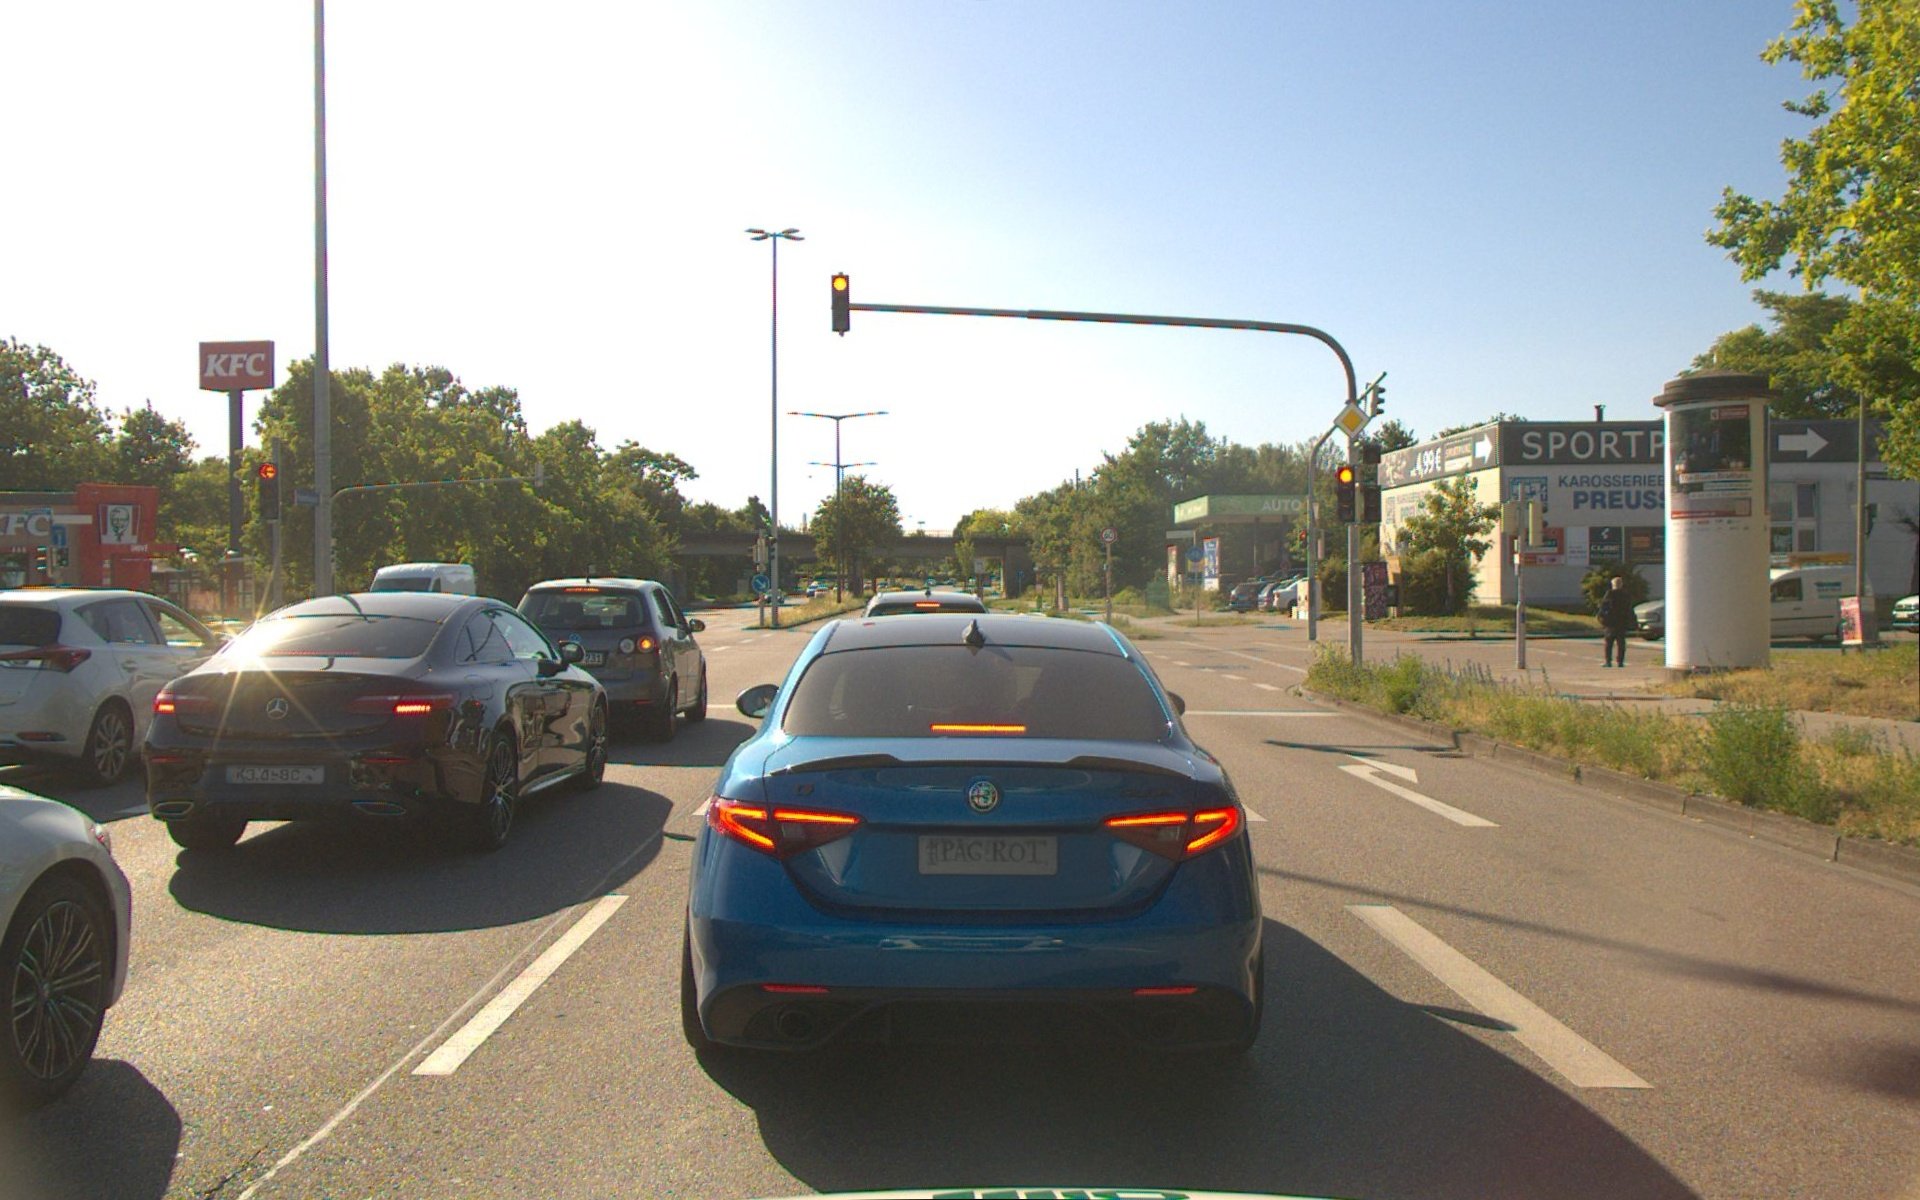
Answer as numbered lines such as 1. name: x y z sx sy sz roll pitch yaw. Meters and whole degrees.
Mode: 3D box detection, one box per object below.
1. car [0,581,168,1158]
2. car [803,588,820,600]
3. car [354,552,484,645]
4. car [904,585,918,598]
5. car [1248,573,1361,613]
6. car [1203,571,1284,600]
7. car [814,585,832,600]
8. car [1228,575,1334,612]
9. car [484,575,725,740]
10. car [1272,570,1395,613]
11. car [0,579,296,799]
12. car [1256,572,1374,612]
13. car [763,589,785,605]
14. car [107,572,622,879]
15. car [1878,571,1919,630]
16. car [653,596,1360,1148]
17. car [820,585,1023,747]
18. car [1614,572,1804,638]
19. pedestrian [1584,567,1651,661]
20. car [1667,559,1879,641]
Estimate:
1. car: -3.347 0.690 3.041 1.749 1.516 4.401 1 0 -2
2. car: -19.269 -0.771 214.621 1.723 1.516 4.477 -2 0 -1
3. car: -16.113 -0.039 49.609 1.981 2.489 5.820 -3 0 -1
4. car: -6.882 -1.198 232.236 1.853 1.847 3.999 1 0 -1
5. car: 14.622 -0.298 70.322 4.397 1.479 1.858 -2 0 1
6. car: 16.715 -0.850 97.577 4.457 1.516 1.765 -2 0 1
7. car: -15.307 -0.830 184.901 1.723 1.516 3.836 -2 0 -1
8. car: 14.393 -0.290 74.369 4.397 1.479 1.858 -2 0 1
9. car: -3.628 0.545 17.643 1.723 1.516 4.401 1 0 -2
10. car: 14.602 -0.322 64.789 4.397 1.479 1.858 -2 0 1
11. car: -7.091 0.613 13.522 1.723 1.516 4.195 1 0 -2
12. car: 14.478 -0.322 67.566 4.397 1.479 1.858 -2 0 1
13. car: -18.718 -0.340 166.359 1.723 1.516 4.477 -2 0 -1
14. car: -3.442 0.641 10.545 1.760 1.516 4.474 1 0 -2
15. car: 26.726 -0.058 43.691 3.960 1.516 1.782 -2 0 -3
16. car: 0.065 0.736 6.587 1.857 1.443 4.401 1 0 -2
17. car: -0.417 0.606 17.215 1.813 1.443 4.401 1 0 -2
18. car: 19.591 0.110 43.371 4.201 1.576 1.764 -1 2 -2
19. pedestrian: 12.726 0.268 32.025 0.906 1.765 0.938 1 -1 -1
20. car: 19.620 -0.026 40.035 4.293 1.833 1.764 -1 2 -2
